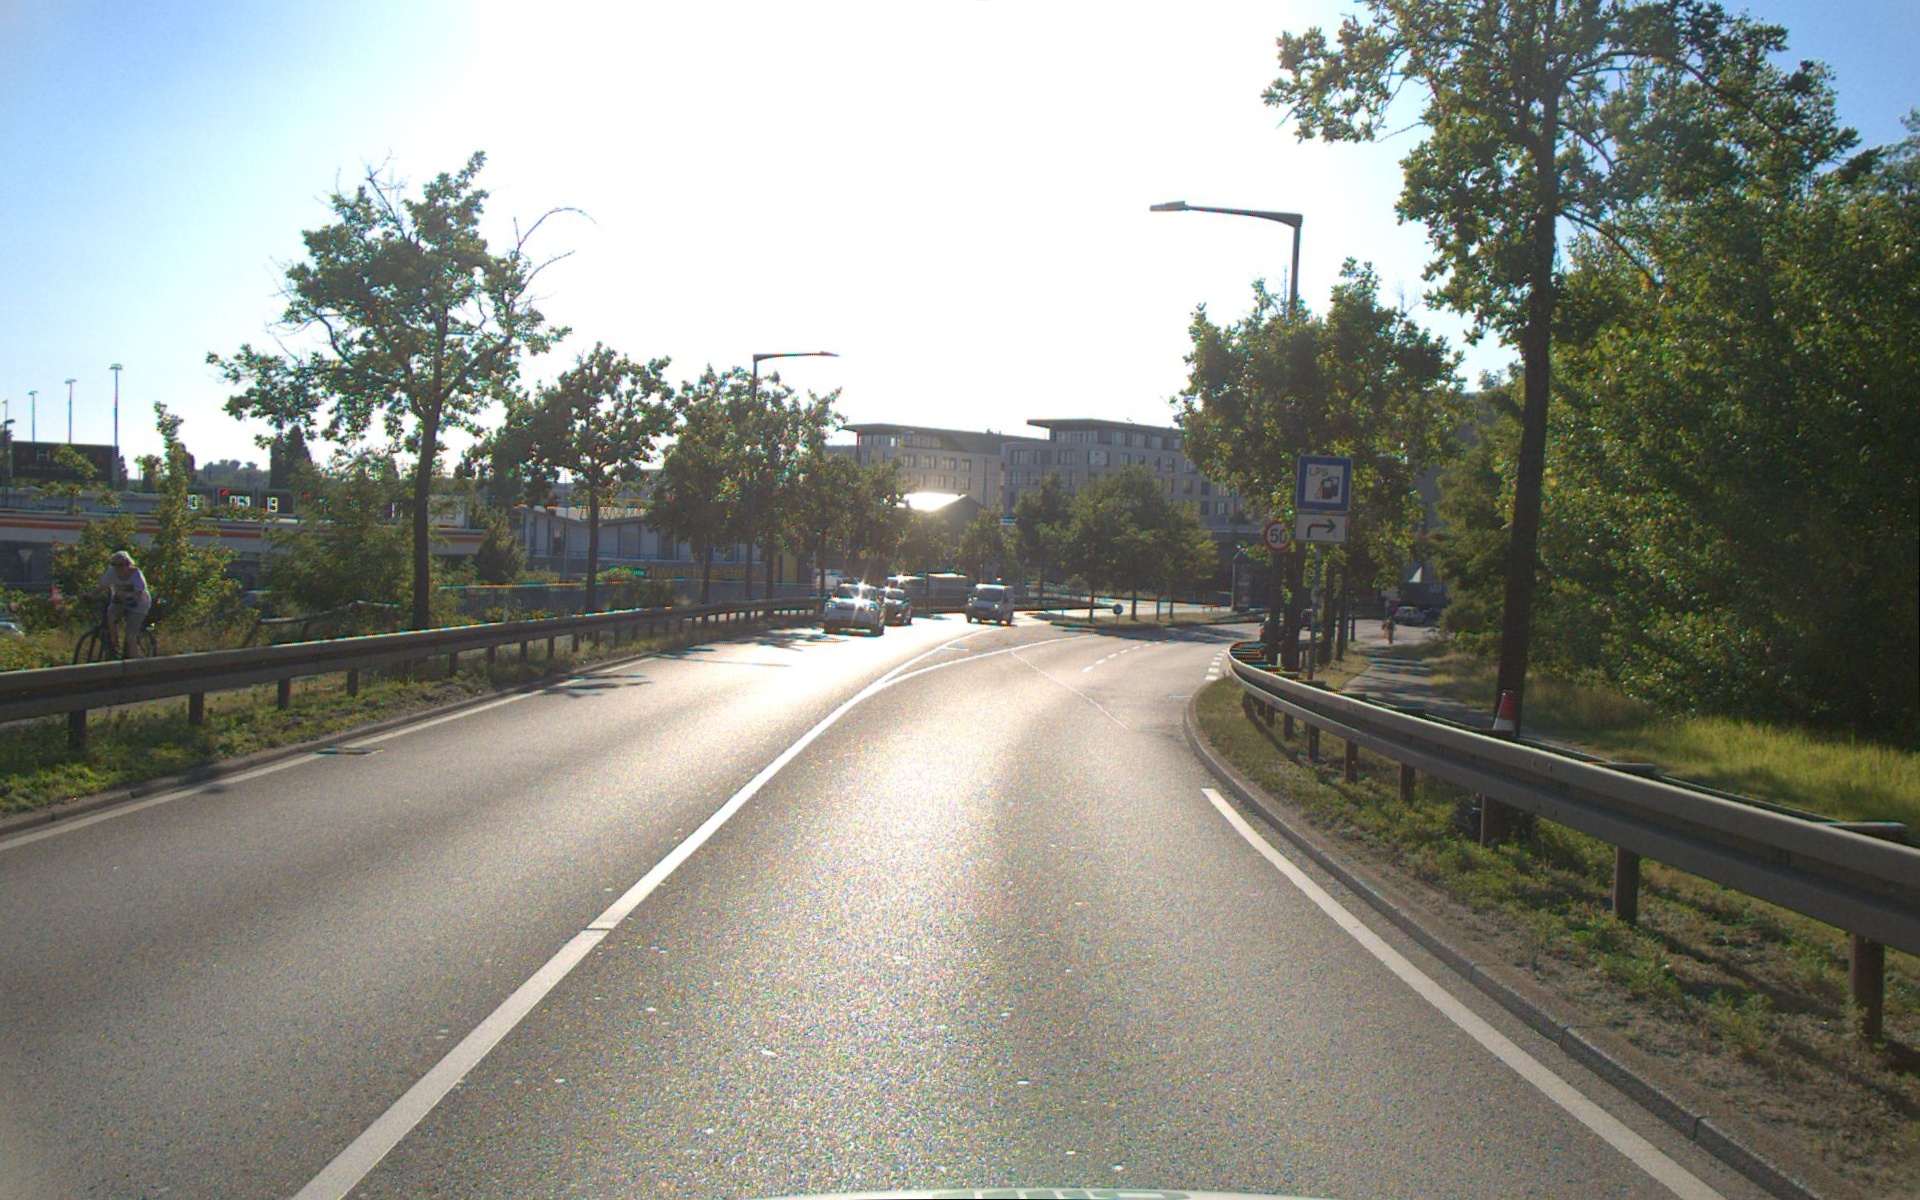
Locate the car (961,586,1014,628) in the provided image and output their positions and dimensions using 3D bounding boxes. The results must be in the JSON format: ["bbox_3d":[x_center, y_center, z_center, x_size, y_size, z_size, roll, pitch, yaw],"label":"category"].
[{"bbox_3d":[1.453,0.342,85.600,1.838,2.049,5.264,2,0,10],"label":"car"}]

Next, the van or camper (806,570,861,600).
[{"bbox_3d":[-9.460,-1.138,123.367,1.981,1.959,4.170,3,0,-39],"label":"van or camper"}]

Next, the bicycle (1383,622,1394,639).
[{"bbox_3d":[26.577,1.880,102.550,0.566,0.980,2.888,4,1,15],"label":"bicycle"}]

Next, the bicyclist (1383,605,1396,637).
[{"bbox_3d":[26.669,1.305,102.689,0.667,1.939,0.834,4,2,15],"label":"bicyclist"}]

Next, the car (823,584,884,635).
[{"bbox_3d":[-3.617,0.318,56.675,1.791,1.617,4.648,2,0,-1],"label":"car"}]

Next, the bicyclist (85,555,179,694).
[{"bbox_3d":[-9.099,0.262,18.205,0.587,1.485,0.828,1,0,1],"label":"bicyclist"}]

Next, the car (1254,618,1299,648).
[{"bbox_3d":[17.066,1.776,89.159,1.951,1.534,4.002,1,0,17],"label":"car"}]

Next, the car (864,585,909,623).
[{"bbox_3d":[-3.111,0.151,70.949,1.736,1.491,4.382,3,0,-1],"label":"car"}]

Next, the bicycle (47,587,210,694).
[{"bbox_3d":[-9.096,0.427,18.204,0.570,1.096,2.313,1,0,1],"label":"bicycle"}]

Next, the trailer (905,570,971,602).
[{"bbox_3d":[-1.453,-0.919,114.219,2.369,2.004,6.608,4,1,18],"label":"trailer"}]
